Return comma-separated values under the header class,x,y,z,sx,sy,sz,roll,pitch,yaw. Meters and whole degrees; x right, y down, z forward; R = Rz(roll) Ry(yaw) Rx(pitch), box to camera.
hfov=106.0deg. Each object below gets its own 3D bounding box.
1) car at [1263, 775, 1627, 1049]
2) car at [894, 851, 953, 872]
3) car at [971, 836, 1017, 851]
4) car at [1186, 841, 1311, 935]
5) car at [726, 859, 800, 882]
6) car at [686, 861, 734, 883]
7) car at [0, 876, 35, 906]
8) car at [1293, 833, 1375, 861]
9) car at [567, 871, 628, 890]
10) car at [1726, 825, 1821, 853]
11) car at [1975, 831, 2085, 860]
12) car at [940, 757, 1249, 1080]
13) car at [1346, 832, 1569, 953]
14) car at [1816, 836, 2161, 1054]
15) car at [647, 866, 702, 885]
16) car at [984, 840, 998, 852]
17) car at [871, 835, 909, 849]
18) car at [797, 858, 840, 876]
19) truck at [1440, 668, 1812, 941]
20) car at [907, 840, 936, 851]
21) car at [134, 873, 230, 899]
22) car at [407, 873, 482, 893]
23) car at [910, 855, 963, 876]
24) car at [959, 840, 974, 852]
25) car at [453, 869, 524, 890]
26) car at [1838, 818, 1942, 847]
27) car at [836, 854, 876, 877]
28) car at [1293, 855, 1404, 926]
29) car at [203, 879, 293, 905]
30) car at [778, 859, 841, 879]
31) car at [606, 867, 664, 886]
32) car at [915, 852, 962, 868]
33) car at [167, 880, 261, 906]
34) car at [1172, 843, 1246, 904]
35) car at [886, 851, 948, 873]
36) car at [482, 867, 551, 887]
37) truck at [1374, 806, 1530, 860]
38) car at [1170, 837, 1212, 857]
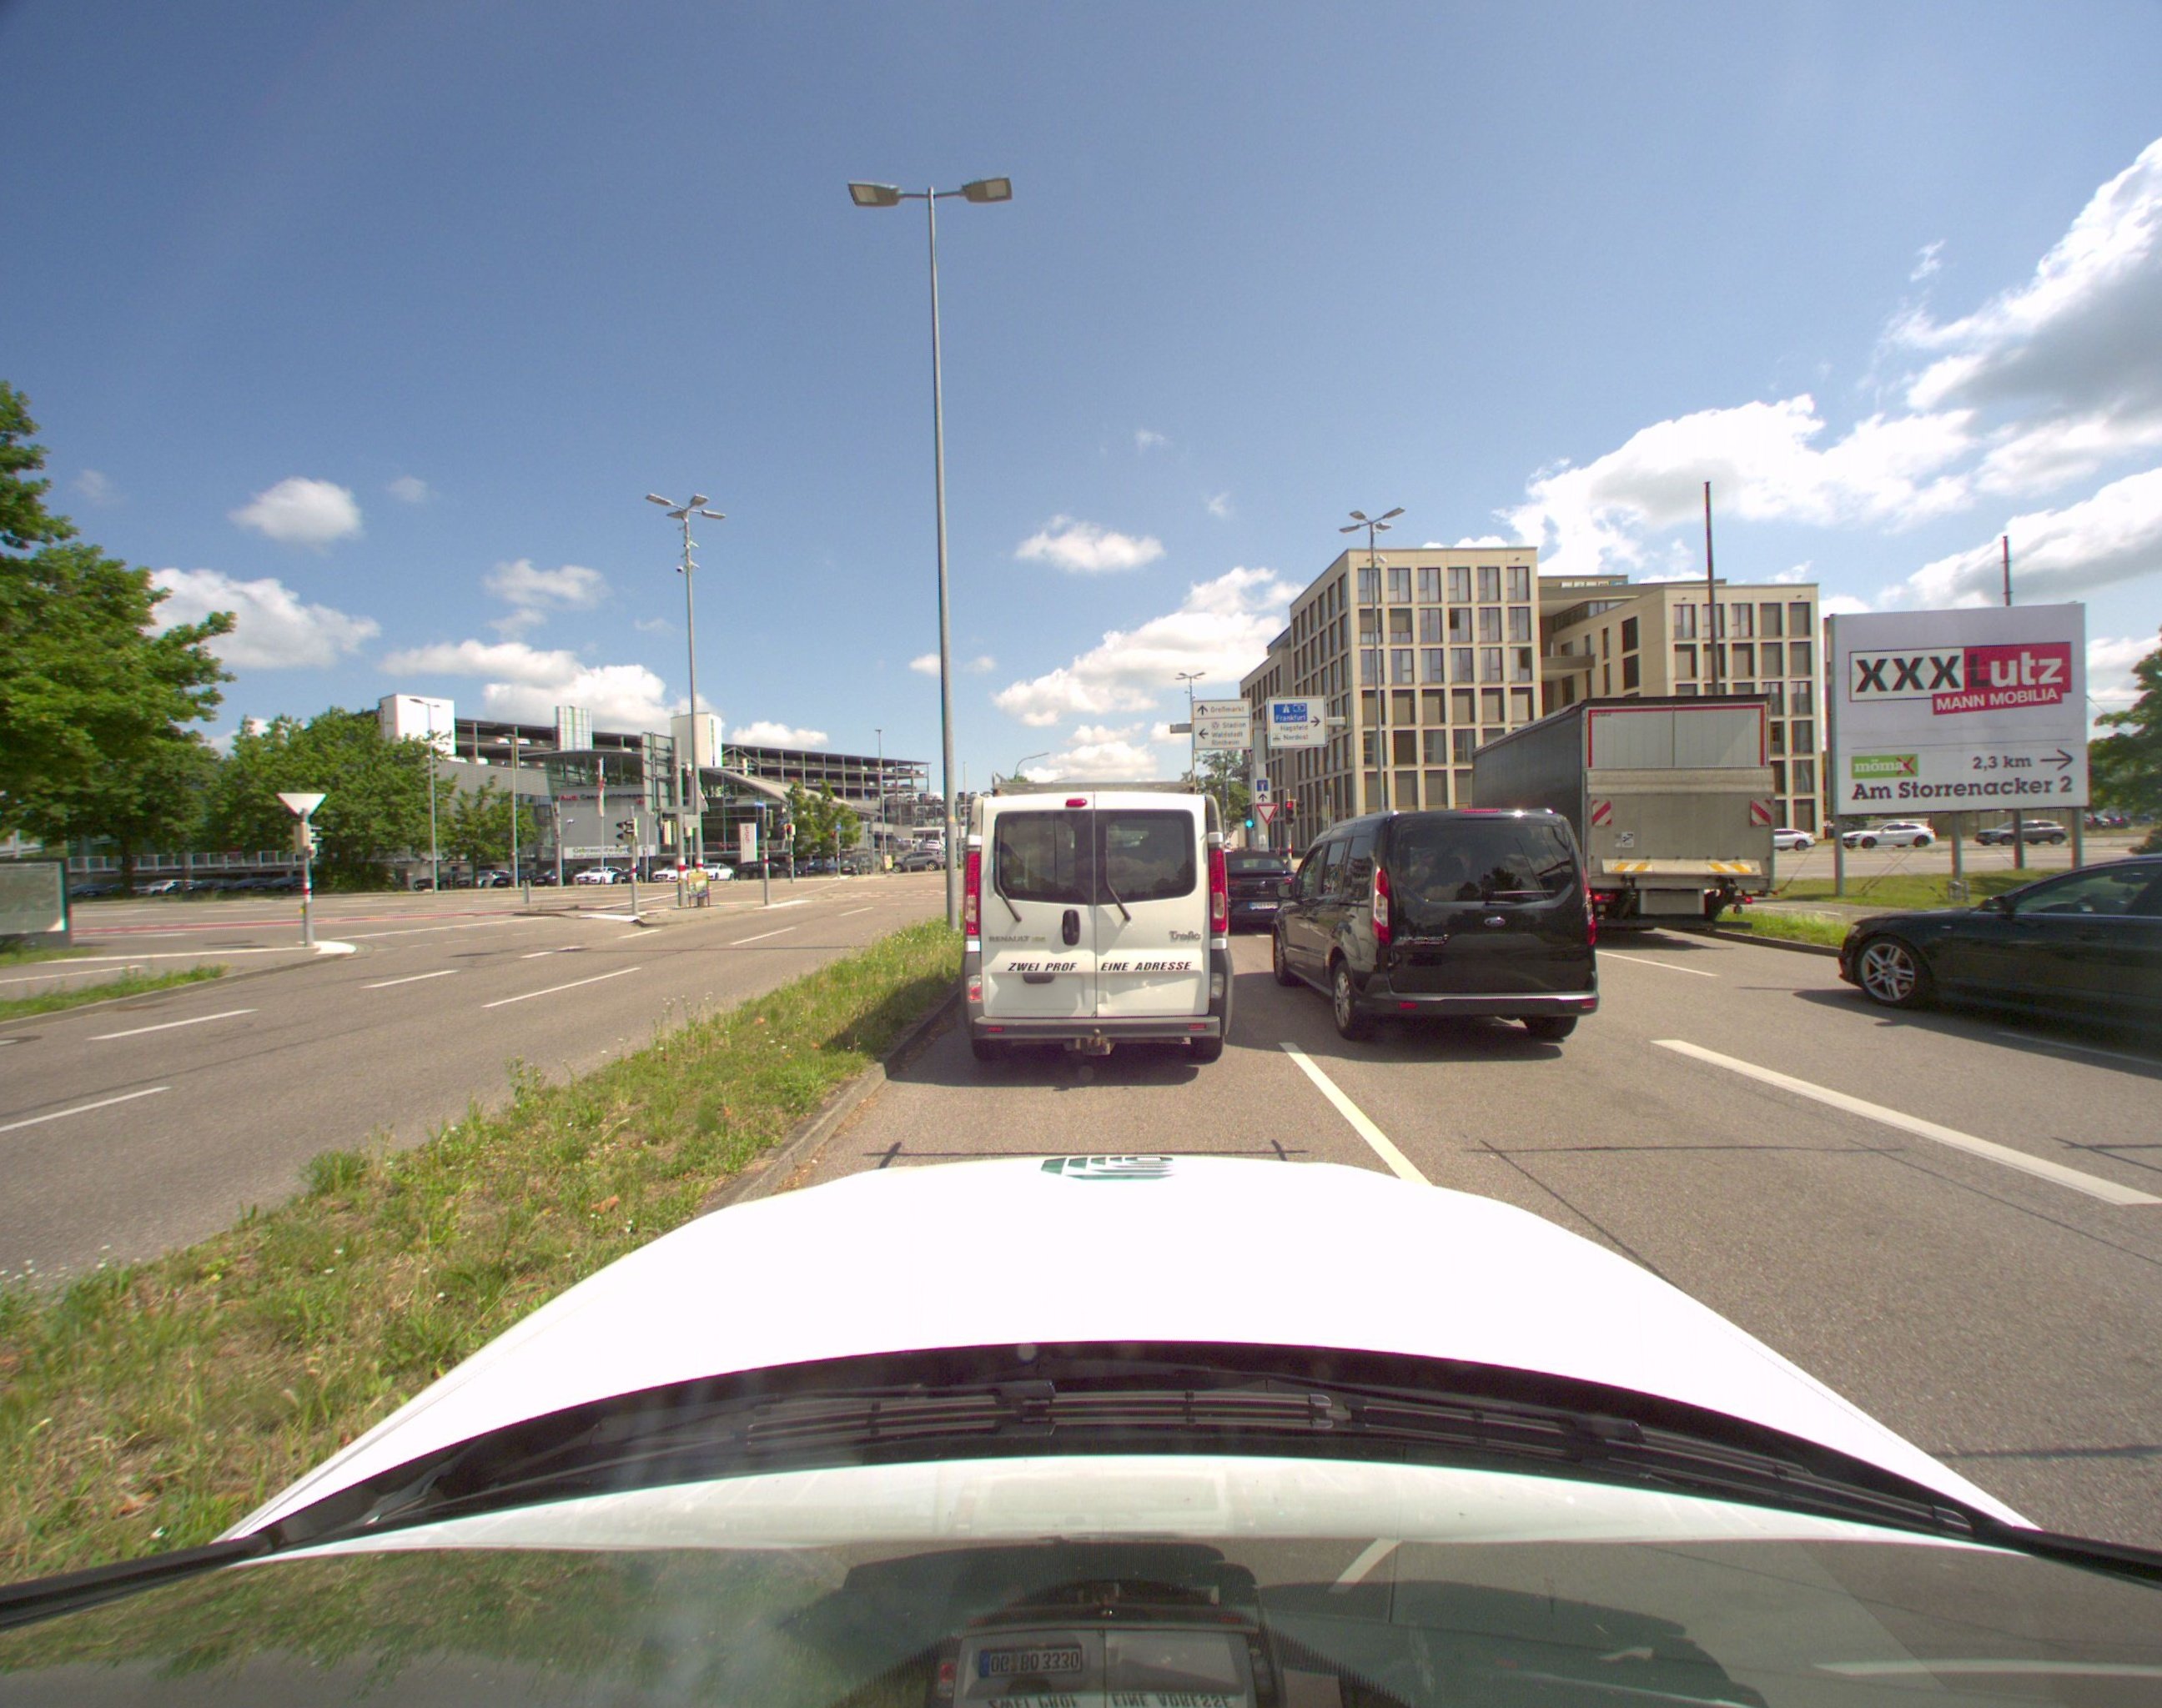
class,x,y,z,sx,sy,sz,roll,pitch,yaw
car,3.009,0.412,7.743,1.816,1.905,4.003,-1,0,3
car,-12.976,0.651,67.329,4.562,1.678,1.906,0,-1,-2
car,-12.434,-1.528,116.487,6.373,2.102,1.763,0,-1,-4
car,3.221,0.596,16.429,1.767,1.629,4.001,-1,0,1
car,-23.575,1.222,60.514,4.731,1.464,1.793,-2,-3,-4
car,-27.251,1.355,59.985,1.786,1.464,3.995,-2,-3,-3
car,-77.831,2.645,57.558,1.896,2.049,4.585,0,-1,-3
car,17.177,-0.492,55.368,4.969,1.838,1.996,0,-1,-6
car,-35.261,1.907,59.535,1.896,1.297,4.585,0,0,-3
car,47.226,-0.988,55.598,4.683,1.838,1.832,0,-1,8
car,61.472,-0.540,52.836,4.401,1.838,1.834,-1,-1,12
car,0.160,0.415,7.561,1.965,2.060,4.566,-1,0,2
car,5.896,0.560,13.397,1.852,1.655,4.221,-1,-1,2
car,8.243,0.603,5.884,1.767,1.478,4.682,-1,0,2
car,-29.889,1.536,60.005,1.896,1.297,4.585,0,0,-3
car,-12.052,-1.039,109.057,1.557,1.552,3.598,-1,0,-3
car,-24.474,-1.523,104.382,4.432,1.801,1.762,0,-1,-4
car,-19.444,0.934,60.598,1.896,1.297,4.585,0,0,-3
truck,10.147,-0.694,16.790,3.191,4.027,9.100,-1,-1,12
car,-22.841,-1.235,116.753,3.987,1.552,1.759,0,-1,-10
car,-64.433,2.248,58.490,1.896,1.678,4.585,0,-1,-3
car,-45.920,2.080,58.909,1.896,1.405,4.585,0,-2,-3
car,-13.428,1.058,76.059,4.562,1.677,1.906,-2,1,-2
car,-15.398,-1.050,109.583,1.557,1.552,3.598,0,-1,-3
car,-42.915,1.879,59.124,1.896,1.405,4.584,0,-3,-3
car,54.019,-1.403,54.479,4.667,1.838,1.834,-1,-1,12
car,-16.723,0.857,60.780,1.896,1.678,4.585,0,-1,-3
car,6.789,0.916,21.121,1.850,1.656,4.225,0,-2,6
car,-59.903,2.695,58.674,1.896,1.678,4.585,0,-1,-3
car,-23.344,1.298,70.043,4.731,1.511,1.982,-2,-3,-4
car,-32.612,1.595,59.716,1.896,1.297,4.585,0,0,-3
car,-14.727,0.630,84.563,4.562,1.678,1.906,0,-1,-2
car,-61.906,2.777,58.247,1.896,1.678,4.585,0,-1,-3
car,3.716,0.526,24.278,1.766,1.629,4.003,-1,0,3
car,-13.109,0.627,65.162,4.562,1.678,1.906,0,-1,-2
car,-40.728,1.702,58.879,1.896,1.384,4.584,0,-2,-3
truck,25.343,-1.408,55.816,9.737,3.555,2.670,0,-1,-6
car,11.568,-0.695,85.743,3.982,2.014,1.996,0,-1,-7
